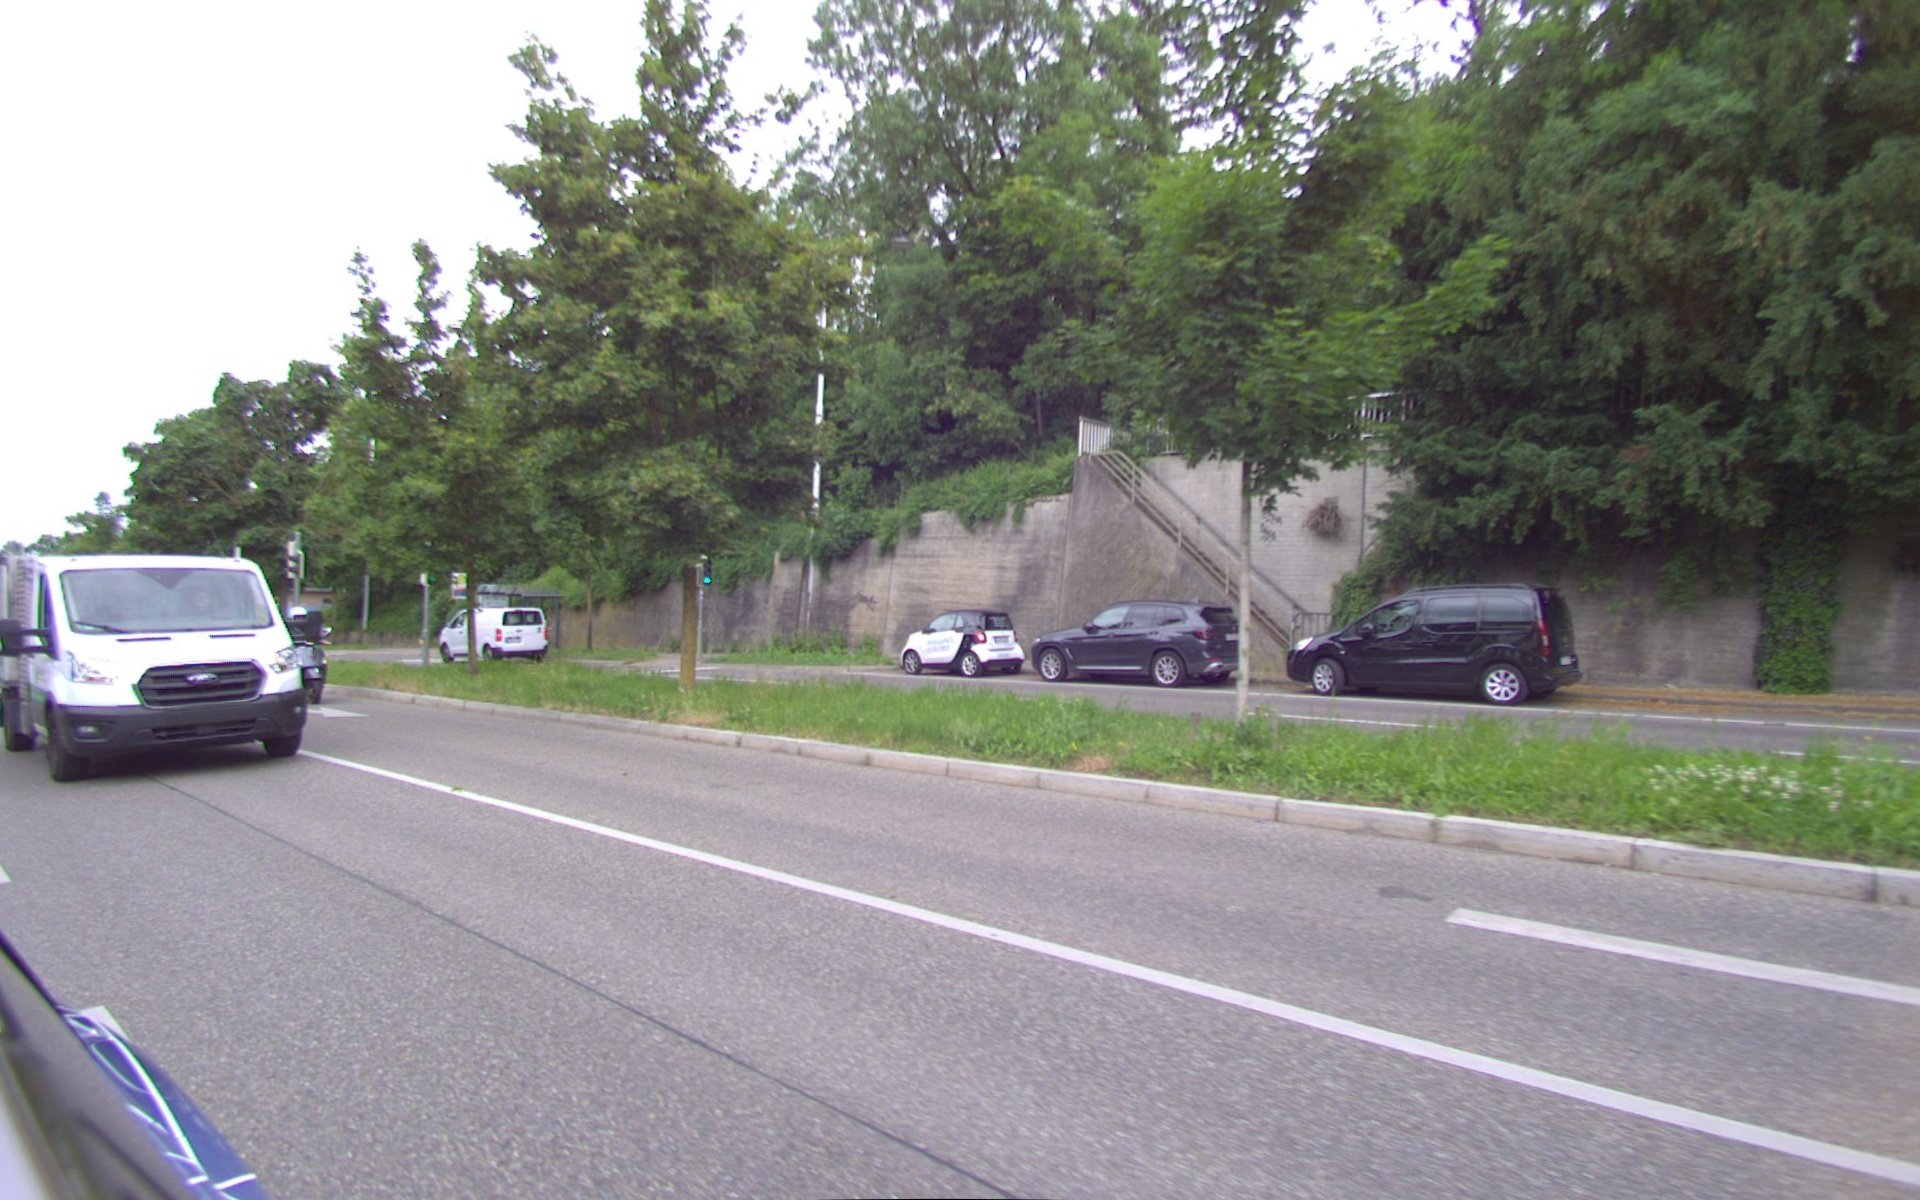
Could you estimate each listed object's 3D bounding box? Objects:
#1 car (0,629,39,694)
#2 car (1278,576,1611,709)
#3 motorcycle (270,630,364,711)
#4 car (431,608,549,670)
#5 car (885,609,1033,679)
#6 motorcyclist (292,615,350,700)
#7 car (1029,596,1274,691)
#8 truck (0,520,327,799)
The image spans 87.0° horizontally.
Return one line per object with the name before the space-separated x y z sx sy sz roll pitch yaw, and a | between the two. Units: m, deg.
car | -24.190 1.529 24.877 4.399 1.492 1.890 -2 -1 42
car | 7.667 0.653 16.356 1.759 1.857 4.490 -1 -1 -45
motorcycle | -11.086 1.180 17.418 2.044 1.309 0.819 -2 -2 41
car | -16.265 1.315 34.879 5.021 1.972 1.917 -2 -1 43
car | -0.050 1.031 24.150 3.096 1.510 1.761 -2 -1 41
motorcyclist | -11.144 0.988 17.643 0.722 1.430 0.675 -2 -2 41
car | 3.735 0.807 20.317 1.946 1.669 4.535 -1 0 -44
truck | -9.383 0.545 11.317 6.326 2.339 2.054 -1 -1 40
